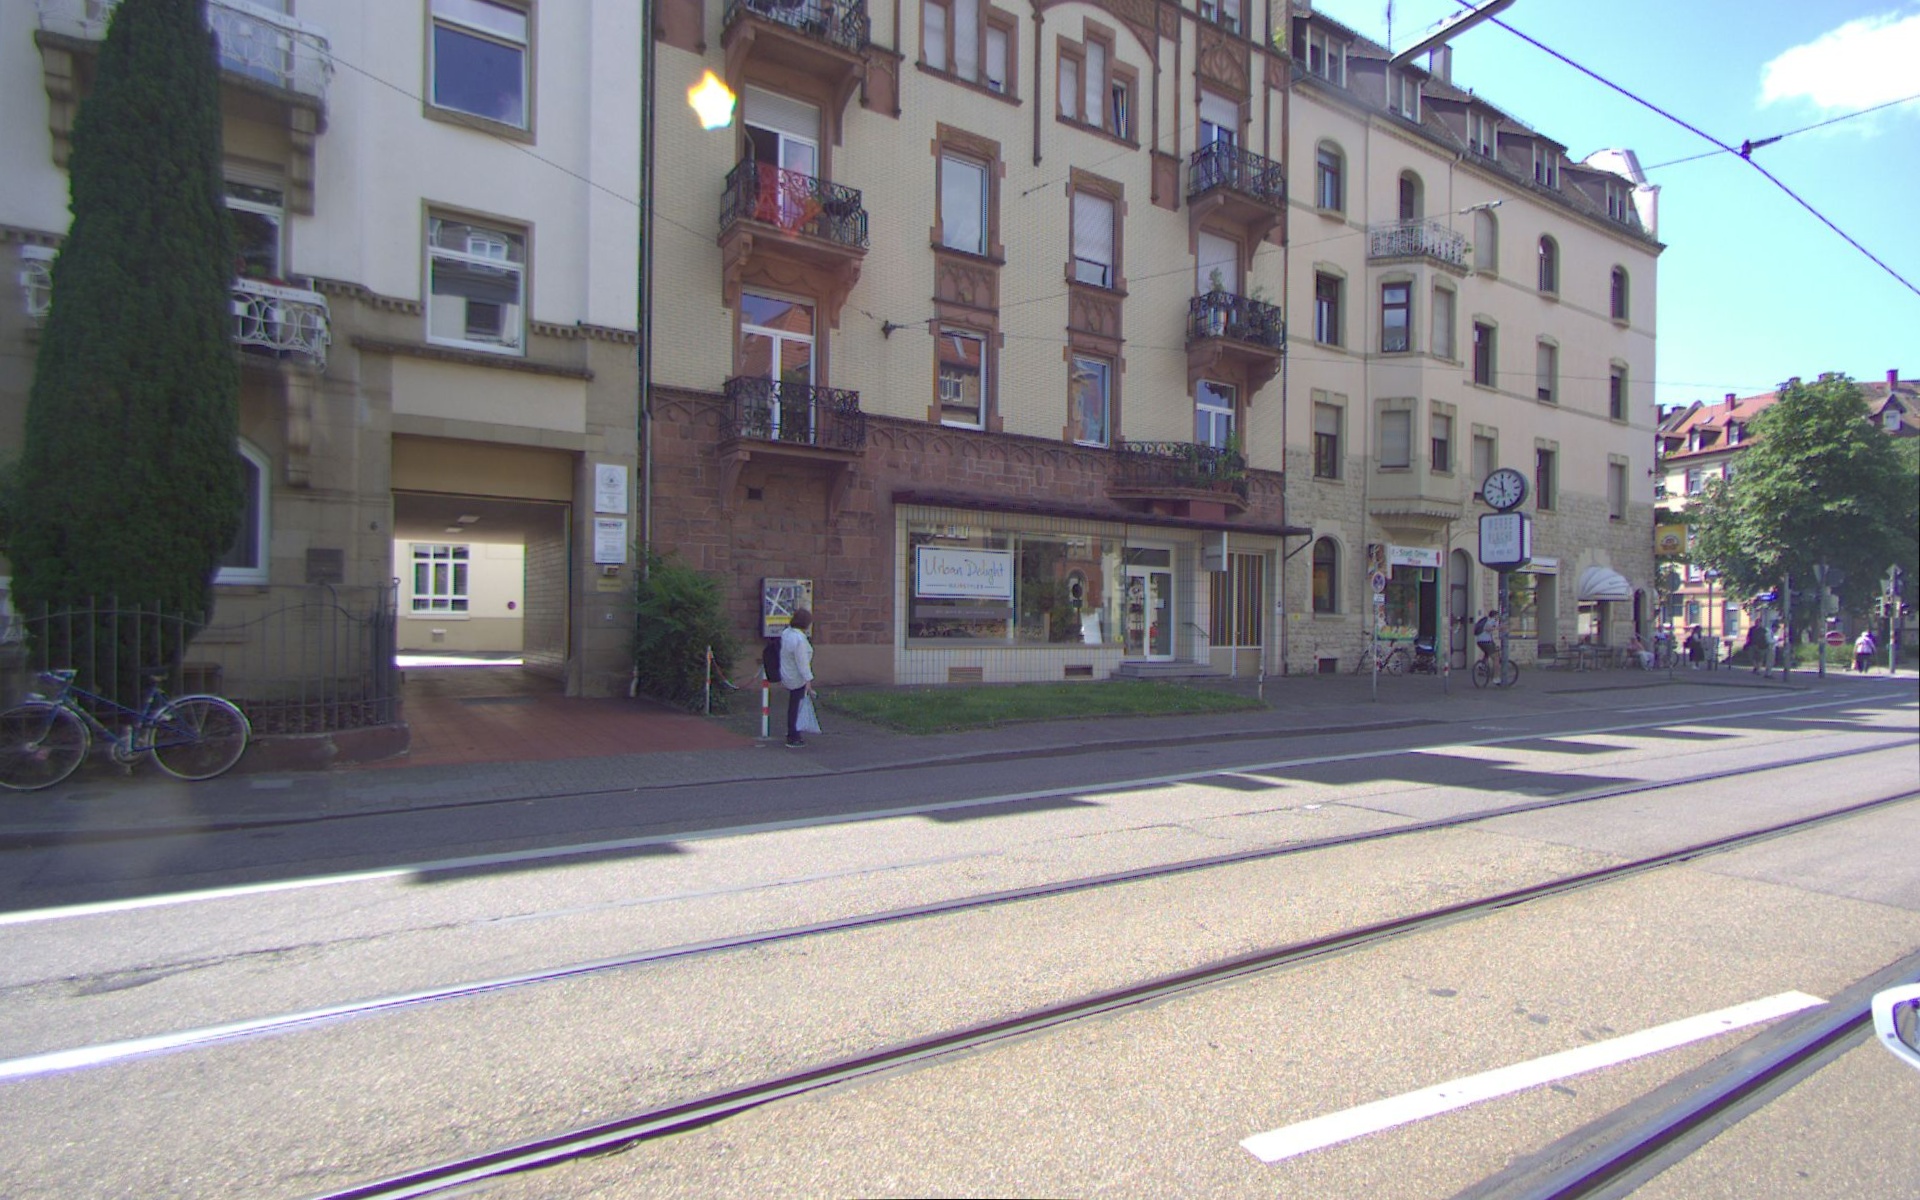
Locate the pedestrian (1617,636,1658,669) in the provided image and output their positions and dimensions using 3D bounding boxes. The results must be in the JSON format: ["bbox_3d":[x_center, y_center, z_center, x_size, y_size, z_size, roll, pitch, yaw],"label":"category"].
[{"bbox_3d":[23.502,1.805,34.849,0.873,1.092,0.911,1,-1,-32],"label":"pedestrian"}]

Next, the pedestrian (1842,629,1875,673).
[{"bbox_3d":[36.438,2.040,40.730,0.834,1.746,0.908,1,-1,-41],"label":"pedestrian"}]

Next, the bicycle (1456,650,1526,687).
[{"bbox_3d":[12.790,1.624,24.172,1.802,0.828,0.747,2,-1,-35],"label":"bicycle"}]

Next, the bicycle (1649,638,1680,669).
[{"bbox_3d":[26.174,1.992,37.320,0.534,1.143,1.683,1,-3,20],"label":"bicycle"}]

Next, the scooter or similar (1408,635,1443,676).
[{"bbox_3d":[12.958,1.536,27.964,0.682,1.058,1.210,2,0,17],"label":"scooter or similar"}]

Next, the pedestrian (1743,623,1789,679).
[{"bbox_3d":[26.103,1.643,32.536,0.764,1.756,0.858,1,0,-22],"label":"pedestrian"}]

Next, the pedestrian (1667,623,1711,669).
[{"bbox_3d":[27.078,1.706,37.319,0.848,1.657,1.024,1,-1,-11],"label":"pedestrian"}]

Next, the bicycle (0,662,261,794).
[{"bbox_3d":[-6.877,1.019,8.251,1.822,0.973,0.408,3,1,-33],"label":"bicycle"}]

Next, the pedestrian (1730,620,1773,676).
[{"bbox_3d":[27.674,1.665,35.120,1.152,1.916,0.895,1,-1,-34],"label":"pedestrian"}]

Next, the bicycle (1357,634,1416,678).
[{"bbox_3d":[11.332,1.485,26.671,1.438,1.080,0.370,2,0,-9],"label":"bicycle"}]

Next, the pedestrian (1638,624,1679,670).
[{"bbox_3d":[25.014,1.672,35.984,0.793,1.616,0.919,1,-1,-2],"label":"pedestrian"}]

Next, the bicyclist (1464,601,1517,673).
[{"bbox_3d":[12.740,0.873,24.127,0.821,1.685,0.752,2,0,-30],"label":"bicyclist"}]

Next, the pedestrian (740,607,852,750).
[{"bbox_3d":[-1.910,0.874,11.662,0.975,1.563,0.894,1,-1,-36],"label":"pedestrian"}]

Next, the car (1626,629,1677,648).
[{"bbox_3d":[57.971,3.196,84.235,1.654,1.491,3.467,1,-1,-8],"label":"car"}]
